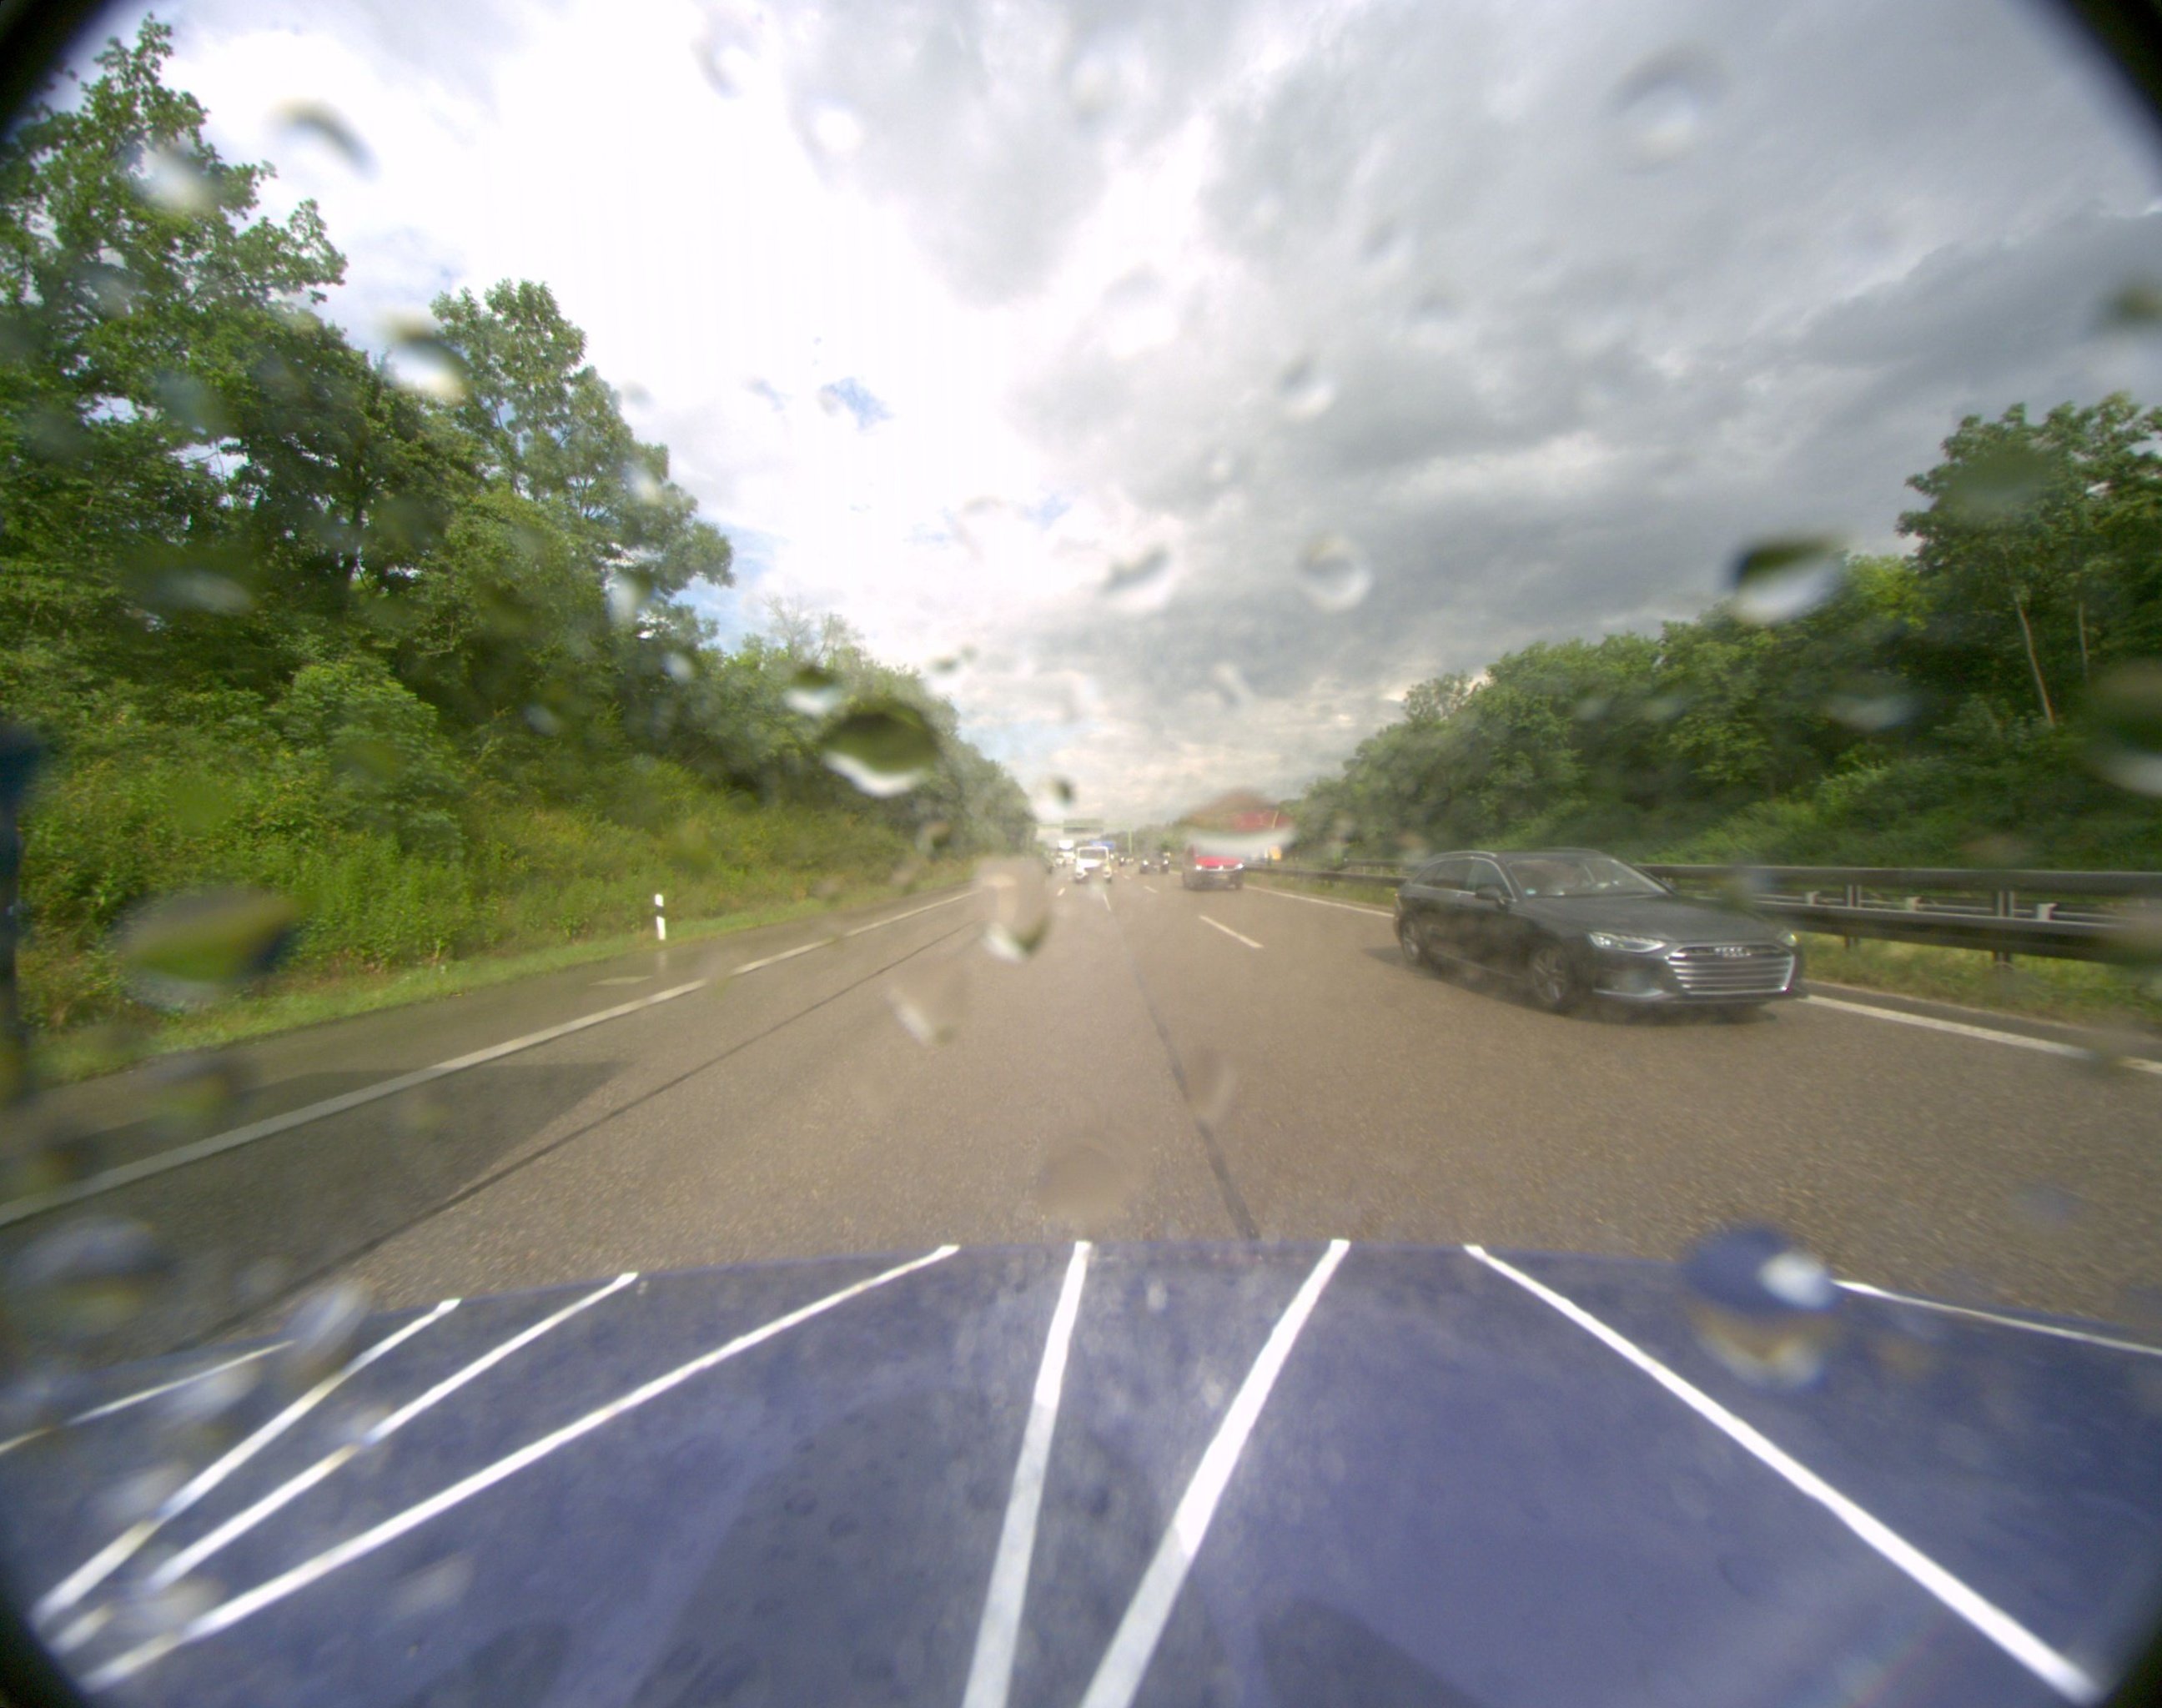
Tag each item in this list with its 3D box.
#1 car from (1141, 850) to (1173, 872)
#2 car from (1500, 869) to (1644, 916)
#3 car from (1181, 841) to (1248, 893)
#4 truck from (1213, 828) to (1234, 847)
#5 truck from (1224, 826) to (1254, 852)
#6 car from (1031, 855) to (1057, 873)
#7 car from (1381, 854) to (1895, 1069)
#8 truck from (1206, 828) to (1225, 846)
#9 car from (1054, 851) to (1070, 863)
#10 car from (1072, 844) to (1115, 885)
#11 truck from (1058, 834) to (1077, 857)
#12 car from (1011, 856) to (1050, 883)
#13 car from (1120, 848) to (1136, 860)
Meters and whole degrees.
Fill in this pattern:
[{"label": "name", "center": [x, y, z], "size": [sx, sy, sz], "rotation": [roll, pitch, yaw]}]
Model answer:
[{"label": "car", "center": [5.638, 0.515, 57.154], "size": [2.009, 1.488, 4.839], "rotation": [-2, 1, 2]}, {"label": "car", "center": [14.709, 1.113, 23.052], "size": [1.830, 1.121, 4.000], "rotation": [-2, 1, 1]}, {"label": "car", "center": [5.287, 0.456, 30.765], "size": [1.926, 1.855, 4.839], "rotation": [-2, 1, 2]}, {"label": "truck", "center": [36.735, -4.162, 196.558], "size": [3.622, 4.693, 11.874], "rotation": [-2, 1, 2]}, {"label": "truck", "center": [30.686, -2.789, 147.792], "size": [3.622, 4.693, 11.874], "rotation": [-2, 1, 2]}, {"label": "car", "center": [-3.220, 0.879, 66.816], "size": [1.798, 1.410, 4.839], "rotation": [-2, 1, 2]}, {"label": "car", "center": [4.887, 0.761, 7.787], "size": [1.798, 1.410, 4.839], "rotation": [-2, 1, 2]}, {"label": "truck", "center": [37.869, -4.721, 214.595], "size": [3.622, 4.693, 11.874], "rotation": [-2, 1, 2]}, {"label": "car", "center": [-2.470, 0.380, 100.514], "size": [1.798, 1.410, 4.839], "rotation": [-2, 1, 2]}, {"label": "car", "center": [0.719, 0.507, 41.632], "size": [2.124, 1.988, 5.982], "rotation": [-2, 1, 2]}, {"label": "truck", "center": [-2.288, -1.436, 132.768], "size": [3.064, 3.827, 8.799], "rotation": [-1, 0, 1]}, {"label": "car", "center": [-2.924, 0.887, 45.173], "size": [1.798, 1.410, 4.839], "rotation": [-2, 1, 2]}, {"label": "car", "center": [5.914, -0.036, 95.413], "size": [1.798, 1.410, 4.839], "rotation": [-2, 1, 2]}]
